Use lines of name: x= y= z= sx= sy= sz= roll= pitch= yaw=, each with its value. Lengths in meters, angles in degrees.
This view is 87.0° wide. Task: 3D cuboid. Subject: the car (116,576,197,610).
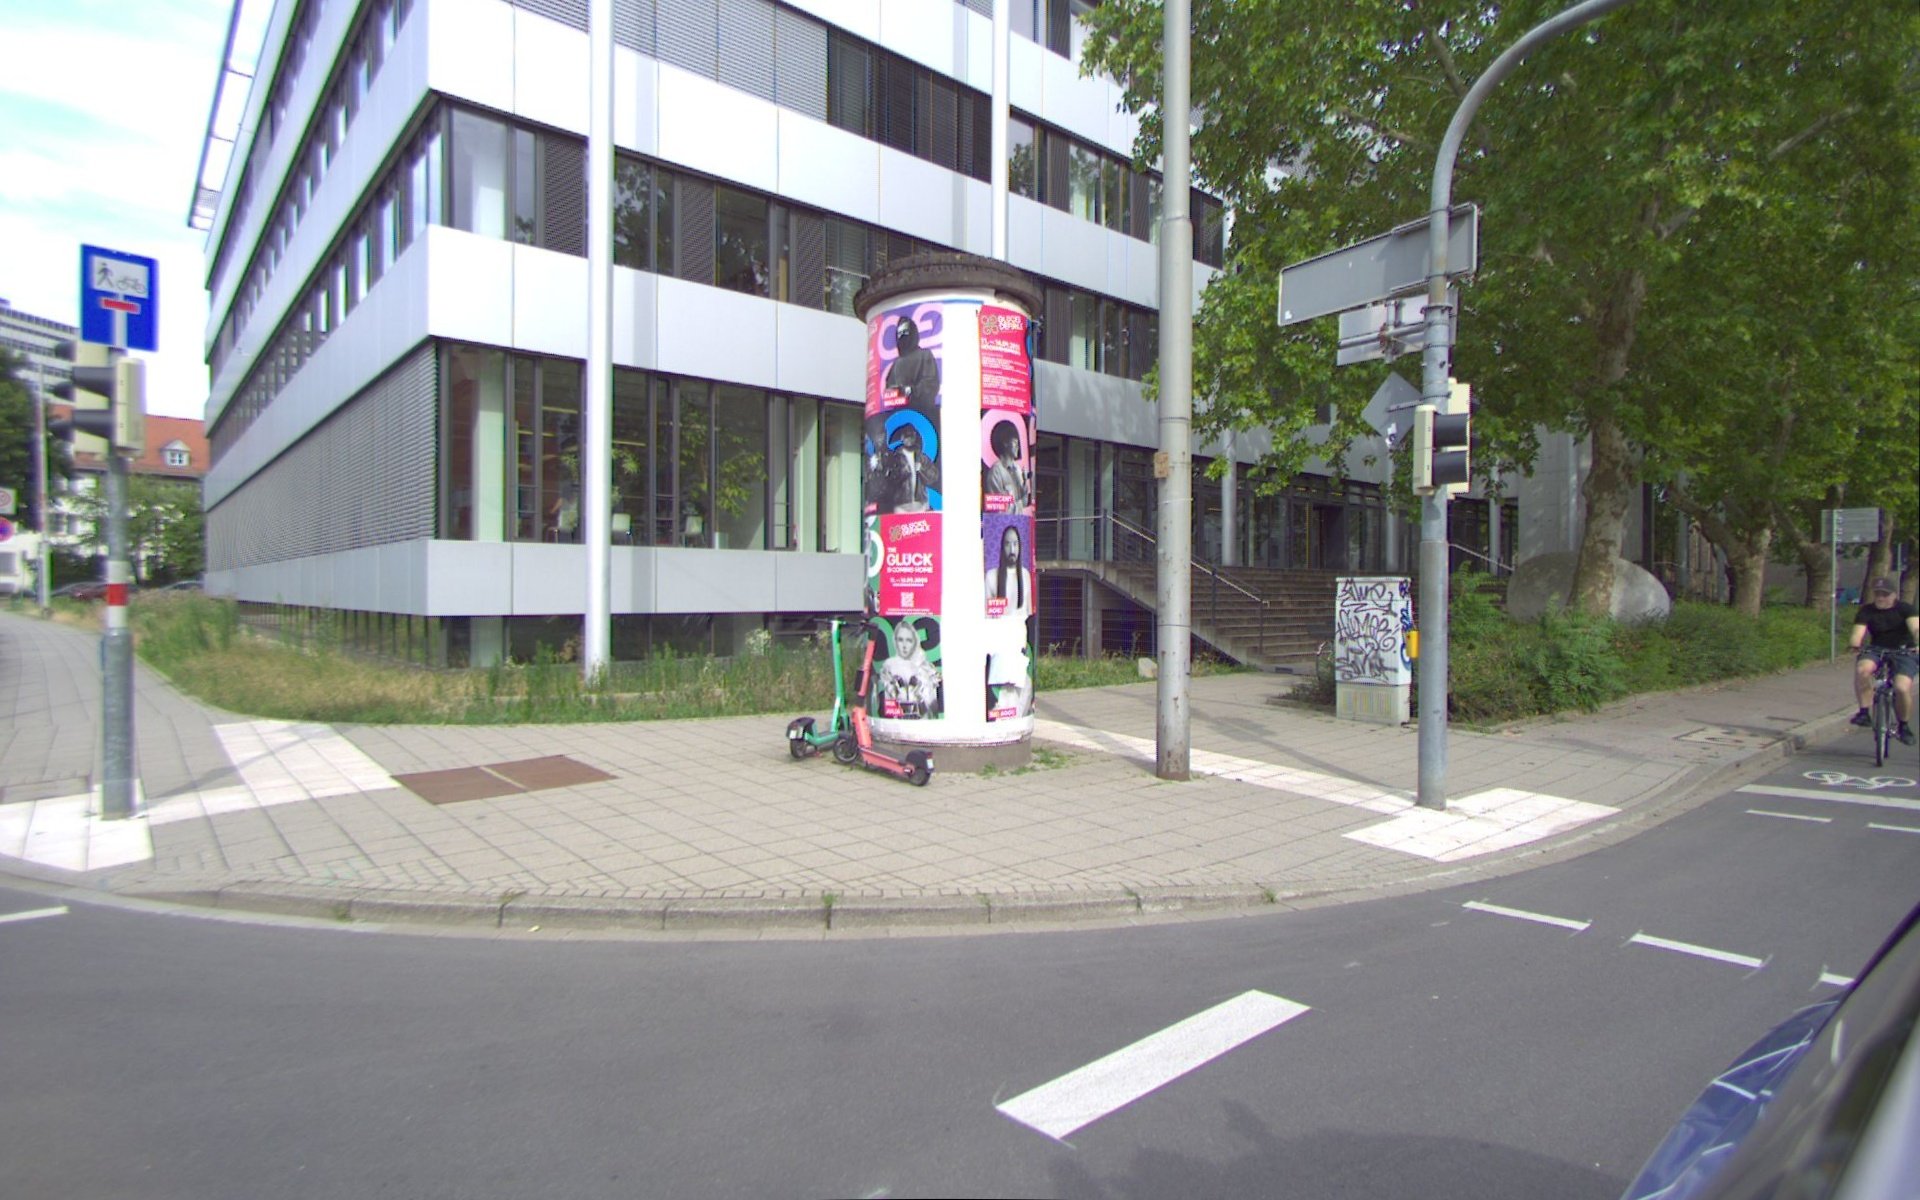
car: x=-50.085 y=-0.431 z=63.139 sx=3.929 sy=2.039 sz=1.997 roll=0 pitch=-1 yaw=-40

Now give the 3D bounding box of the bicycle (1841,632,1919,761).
bicycle: x=9.353 y=0.910 z=10.055 sx=0.769 sy=1.145 sz=1.975 roll=-3 pitch=-3 yaw=39

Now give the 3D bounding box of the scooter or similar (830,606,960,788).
scooter or similar: x=-0.528 y=0.688 z=7.779 sx=0.338 sy=1.224 sz=1.310 roll=0 pitch=2 yaw=-35

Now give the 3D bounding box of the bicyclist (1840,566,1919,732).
bicyclist: x=9.409 y=0.480 z=10.160 sx=0.769 sy=1.604 sz=0.790 roll=-3 pitch=-3 yaw=39

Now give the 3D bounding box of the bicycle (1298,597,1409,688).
bicycle: x=5.443 y=0.555 z=13.956 sx=1.695 sy=1.184 sz=0.699 roll=0 pitch=-2 yaw=-41

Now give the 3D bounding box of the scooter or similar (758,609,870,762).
scooter or similar: x=-1.223 y=0.682 z=8.705 sx=0.465 sy=1.151 sz=1.304 roll=2 pitch=2 yaw=15

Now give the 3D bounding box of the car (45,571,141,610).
car: x=-47.716 y=-0.519 z=55.795 sx=3.929 sy=2.039 sz=1.997 roll=0 pitch=-1 yaw=-40
